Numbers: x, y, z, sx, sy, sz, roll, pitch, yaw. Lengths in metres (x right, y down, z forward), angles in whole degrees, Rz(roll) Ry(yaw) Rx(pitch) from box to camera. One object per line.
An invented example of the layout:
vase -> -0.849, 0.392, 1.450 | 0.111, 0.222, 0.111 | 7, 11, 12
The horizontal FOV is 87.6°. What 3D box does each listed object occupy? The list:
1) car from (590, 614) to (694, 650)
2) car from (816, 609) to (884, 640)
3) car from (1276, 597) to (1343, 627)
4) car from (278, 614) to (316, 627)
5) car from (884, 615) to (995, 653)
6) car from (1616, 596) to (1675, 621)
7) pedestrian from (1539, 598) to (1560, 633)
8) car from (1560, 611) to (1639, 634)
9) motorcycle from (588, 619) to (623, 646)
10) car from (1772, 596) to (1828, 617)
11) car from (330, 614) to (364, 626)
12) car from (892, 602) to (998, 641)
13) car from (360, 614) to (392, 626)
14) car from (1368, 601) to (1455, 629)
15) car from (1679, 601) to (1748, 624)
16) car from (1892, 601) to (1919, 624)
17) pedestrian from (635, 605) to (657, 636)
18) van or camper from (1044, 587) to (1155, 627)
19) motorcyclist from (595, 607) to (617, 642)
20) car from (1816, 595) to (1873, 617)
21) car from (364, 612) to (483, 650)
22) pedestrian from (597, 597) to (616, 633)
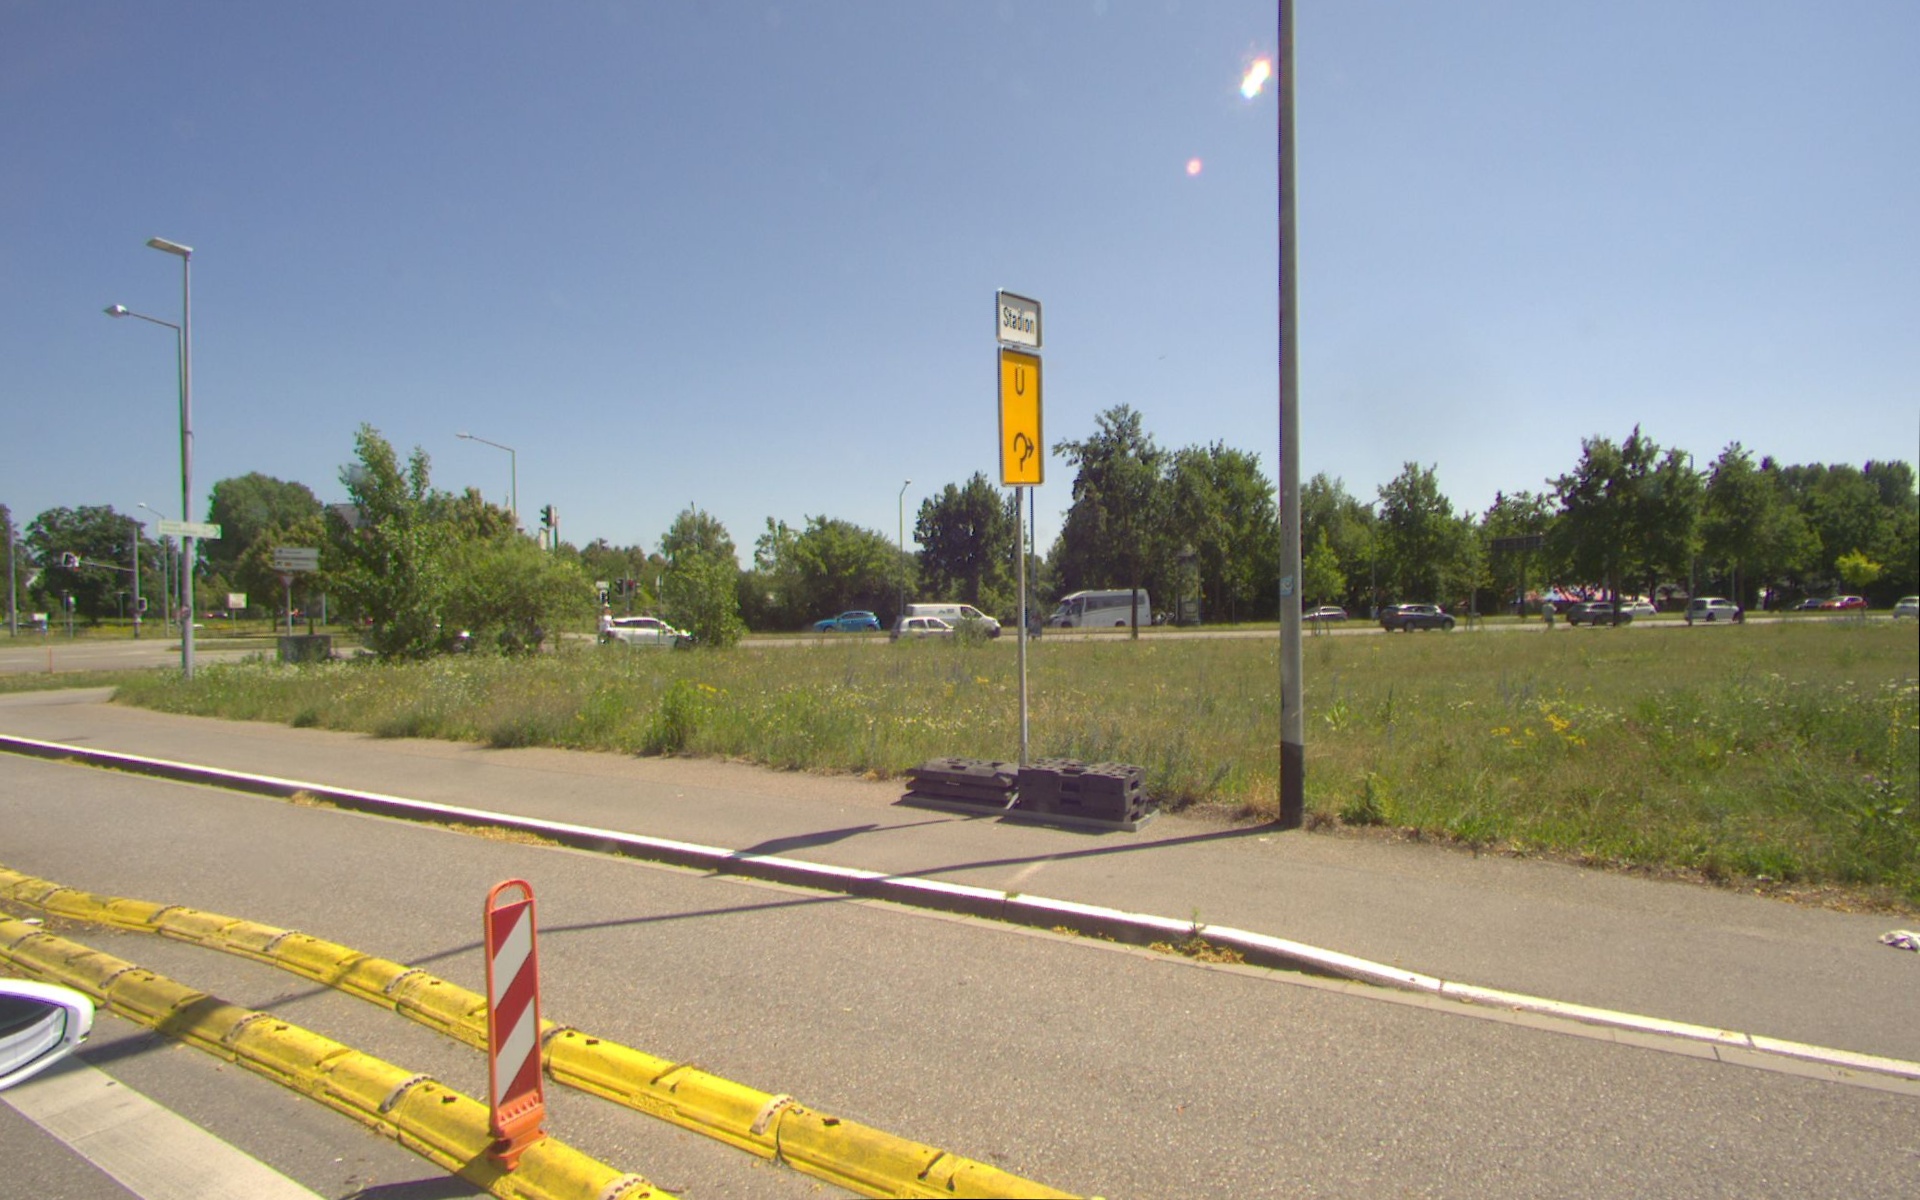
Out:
car -> -13.178, 1.301, 41.479 | 3.957, 1.463, 1.627 | 0, -1, -25
car -> -6.869, 1.511, 62.395 | 3.927, 1.861, 1.998 | 0, -1, -15
car -> 23.890, 0.821, 68.421 | 3.929, 2.040, 1.997 | 0, -1, -17
car -> -90.466, 2.758, 136.602 | 1.964, 1.736, 3.995 | 0, -1, 16
car -> -0.964, 1.556, 46.866 | 4.855, 1.727, 1.995 | 0, -1, -20
car -> 57.152, 0.700, 83.454 | 3.928, 2.040, 1.997 | 0, -1, -15
pedestrian -> 26.837, 0.699, 45.596 | 0.724, 1.583, 0.497 | 0, 0, -18
car -> 40.163, 1.409, 62.937 | 4.131, 1.409, 1.899 | 0, -1, -15
motorcycle -> -13.152, 1.198, 37.187 | 0.619, 0.982, 1.709 | 0, -1, 3
car -> 75.877, 0.633, 90.465 | 3.928, 1.839, 1.997 | 0, -1, -15
car -> -88.254, 2.919, 144.175 | 1.964, 1.736, 3.995 | 0, -1, 16
car -> -0.754, 1.081, 49.830 | 4.899, 1.874, 1.996 | 0, -1, -17
car -> -87.464, 3.044, 149.961 | 1.963, 1.736, 3.997 | 0, -1, 14
car -> 26.028, 0.873, 57.728 | 4.369, 1.616, 1.997 | 0, -1, -17
car -> 50.933, 0.849, 67.672 | 3.928, 1.572, 1.738 | 0, -1, -16
car -> 67.548, 0.852, 70.023 | 3.928, 1.572, 1.738 | 0, -1, -16
pedestrian -> -16.657, 1.084, 53.050 | 0.811, 1.583, 0.790 | 0, -1, 34
van or camper -> 9.797, 0.544, 70.479 | 7.374, 2.728, 2.511 | 0, -1, -13
motorcyclist -> -13.154, 0.908, 37.230 | 0.570, 1.306, 0.615 | 0, 0, 3
car -> 76.704, 0.550, 86.837 | 3.928, 1.839, 1.801 | 0, -1, -15
car -> -21.598, 1.213, 40.363 | 4.143, 1.461, 1.989 | 1, -1, -32
pedestrian -> -18.694, 0.787, 53.002 | 0.726, 1.894, 0.648 | 0, 0, 34
